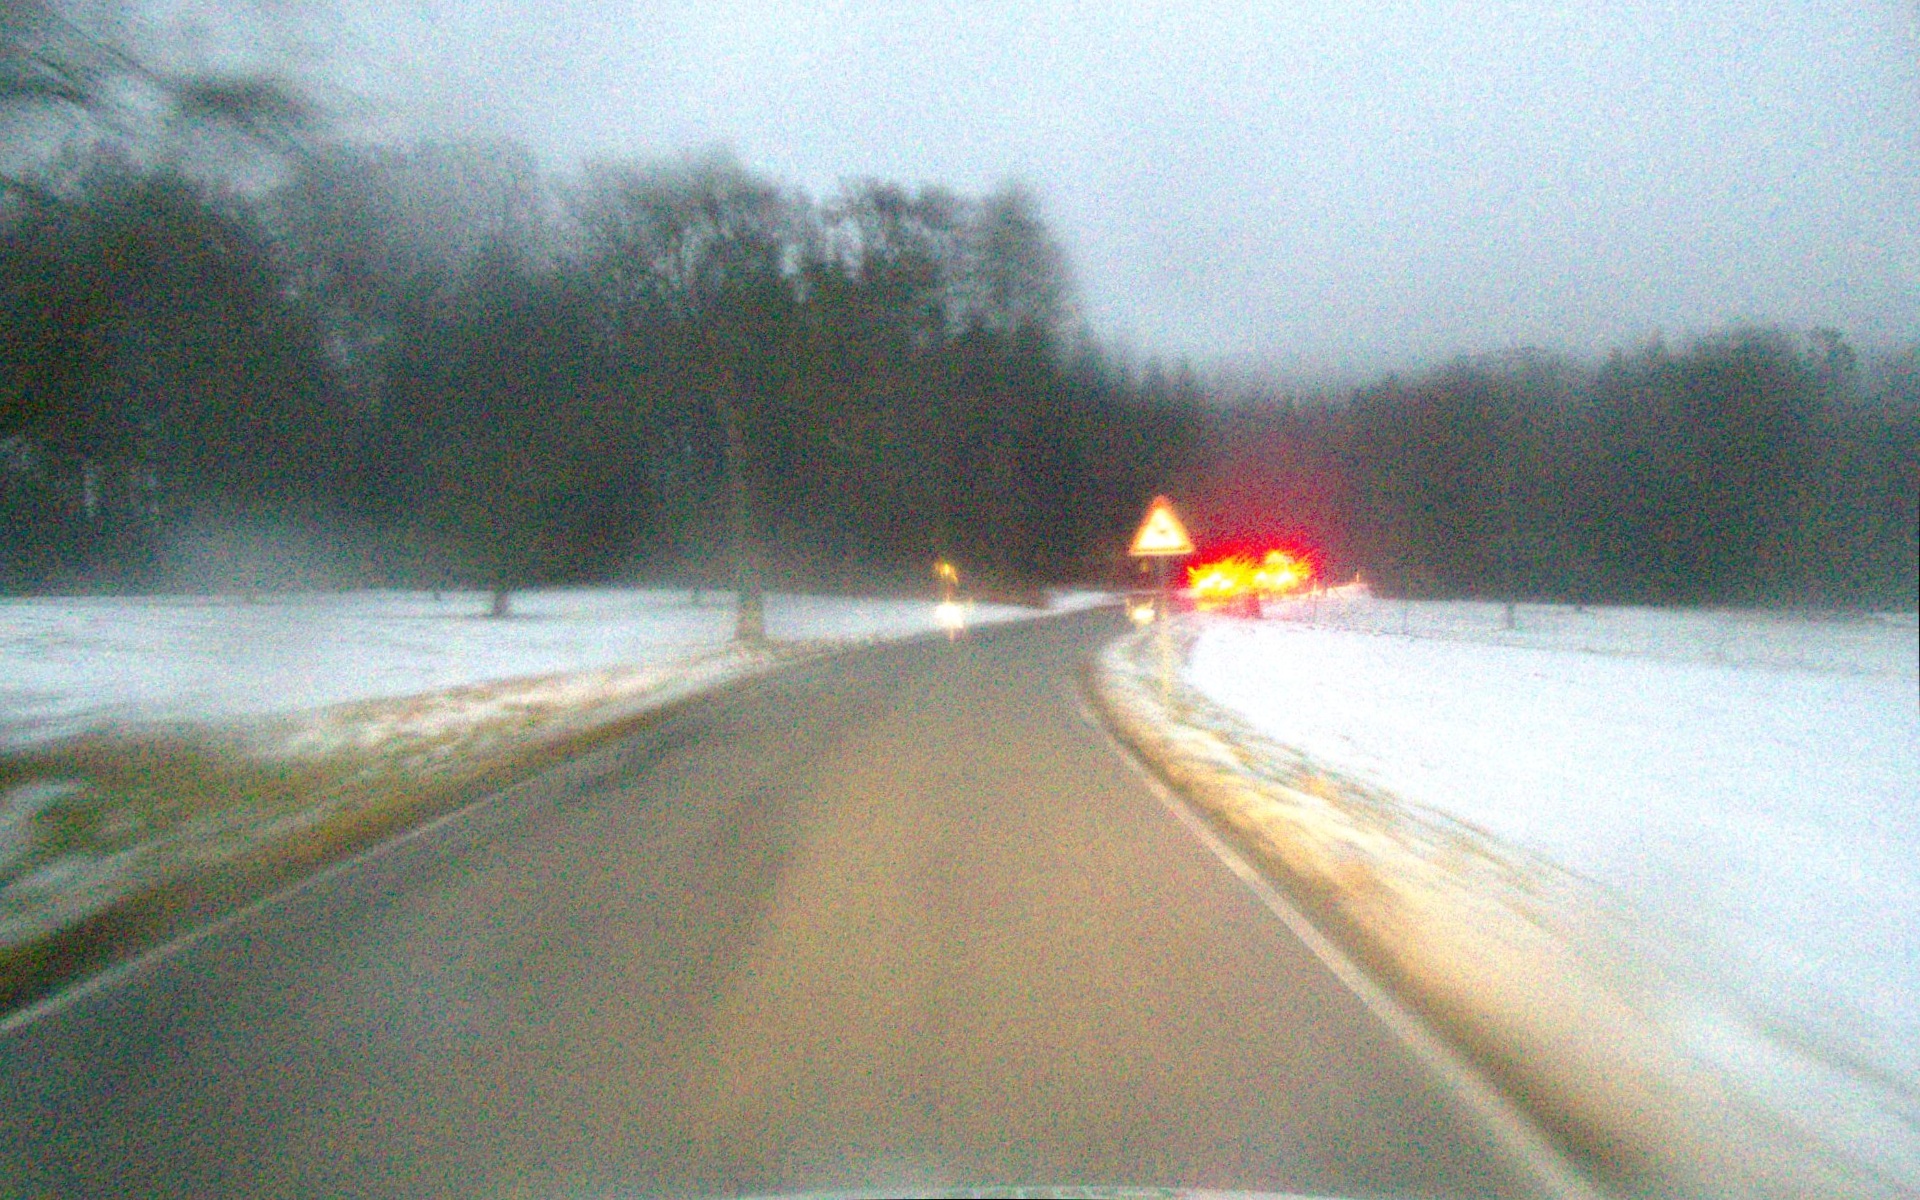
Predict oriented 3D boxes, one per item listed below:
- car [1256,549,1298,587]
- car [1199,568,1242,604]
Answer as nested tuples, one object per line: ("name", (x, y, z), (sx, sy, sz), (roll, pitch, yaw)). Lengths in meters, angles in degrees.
("car", (23.122, -2.359, 120.475), (2.206, 2.691, 5.007), (0, 1, 21))
("car", (15.400, -0.851, 97.665), (1.951, 2.087, 4.003), (1, 1, 16))
